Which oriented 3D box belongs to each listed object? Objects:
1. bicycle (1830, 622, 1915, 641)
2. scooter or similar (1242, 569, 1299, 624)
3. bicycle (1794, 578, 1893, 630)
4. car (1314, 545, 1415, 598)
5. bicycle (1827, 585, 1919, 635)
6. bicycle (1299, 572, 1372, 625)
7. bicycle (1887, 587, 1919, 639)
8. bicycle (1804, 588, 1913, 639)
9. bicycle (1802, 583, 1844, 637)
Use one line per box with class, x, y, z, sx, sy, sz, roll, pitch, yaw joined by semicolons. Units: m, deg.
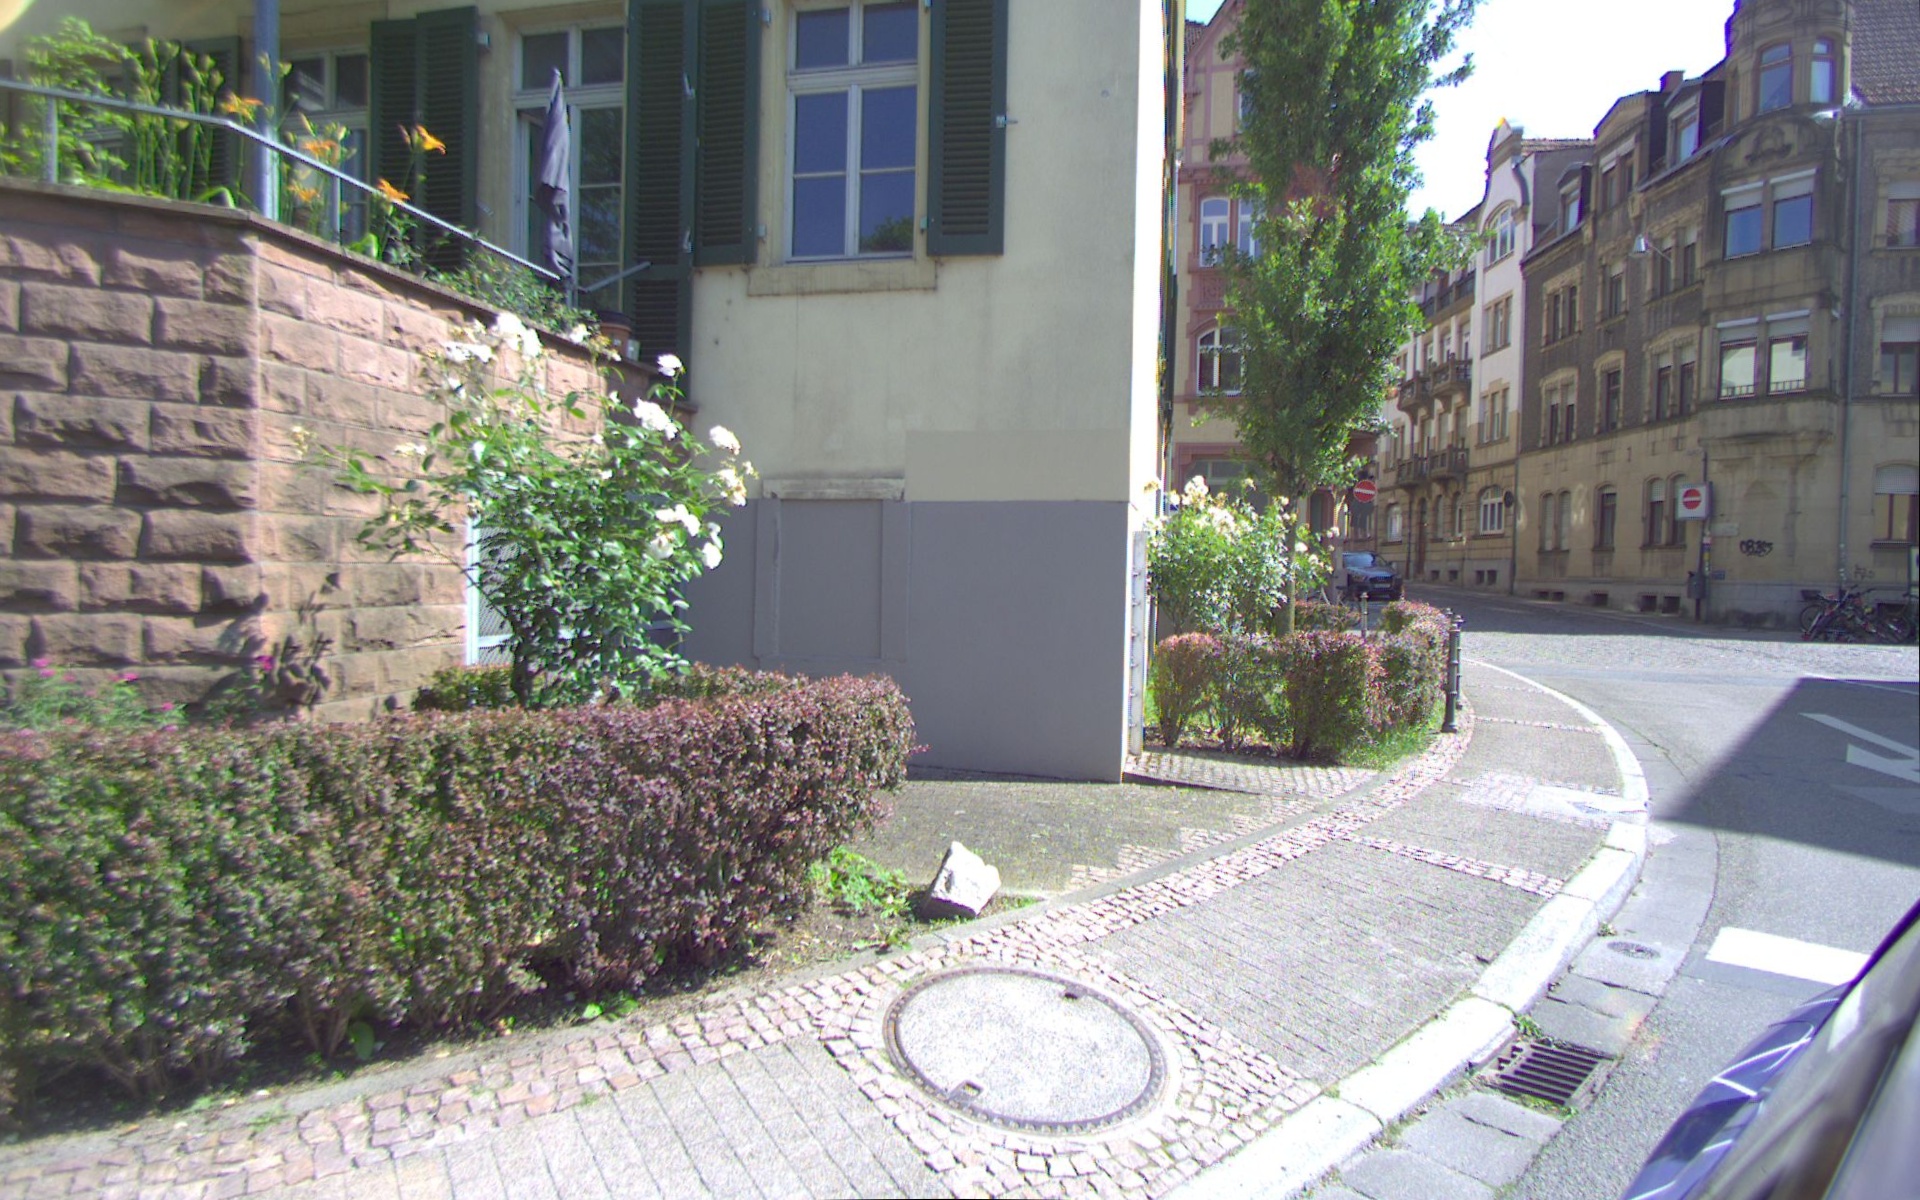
bicycle;19.430;0.658;21.577;1.068;0.291;1.114;2;3;27
scooter or similar;7.298;-0.093;23.840;1.168;1.250;0.442;1;2;0
bicycle;20.630;0.086;23.651;1.617;1.098;0.495;2;6;13
car;13.590;-1.034;34.268;1.828;1.601;4.261;-1;4;2
bicycle;19.946;0.208;21.927;0.285;1.080;1.642;-42;1;3
bicycle;8.970;-0.059;24.261;0.495;1.160;1.798;1;3;-23
bicycle;20.393;0.283;21.110;0.280;1.099;1.645;3;-1;-15
bicycle;19.459;0.268;21.964;0.285;1.080;1.642;-42;1;3
bicycle;18.844;0.199;22.125;0.283;1.099;1.628;-2;1;26
